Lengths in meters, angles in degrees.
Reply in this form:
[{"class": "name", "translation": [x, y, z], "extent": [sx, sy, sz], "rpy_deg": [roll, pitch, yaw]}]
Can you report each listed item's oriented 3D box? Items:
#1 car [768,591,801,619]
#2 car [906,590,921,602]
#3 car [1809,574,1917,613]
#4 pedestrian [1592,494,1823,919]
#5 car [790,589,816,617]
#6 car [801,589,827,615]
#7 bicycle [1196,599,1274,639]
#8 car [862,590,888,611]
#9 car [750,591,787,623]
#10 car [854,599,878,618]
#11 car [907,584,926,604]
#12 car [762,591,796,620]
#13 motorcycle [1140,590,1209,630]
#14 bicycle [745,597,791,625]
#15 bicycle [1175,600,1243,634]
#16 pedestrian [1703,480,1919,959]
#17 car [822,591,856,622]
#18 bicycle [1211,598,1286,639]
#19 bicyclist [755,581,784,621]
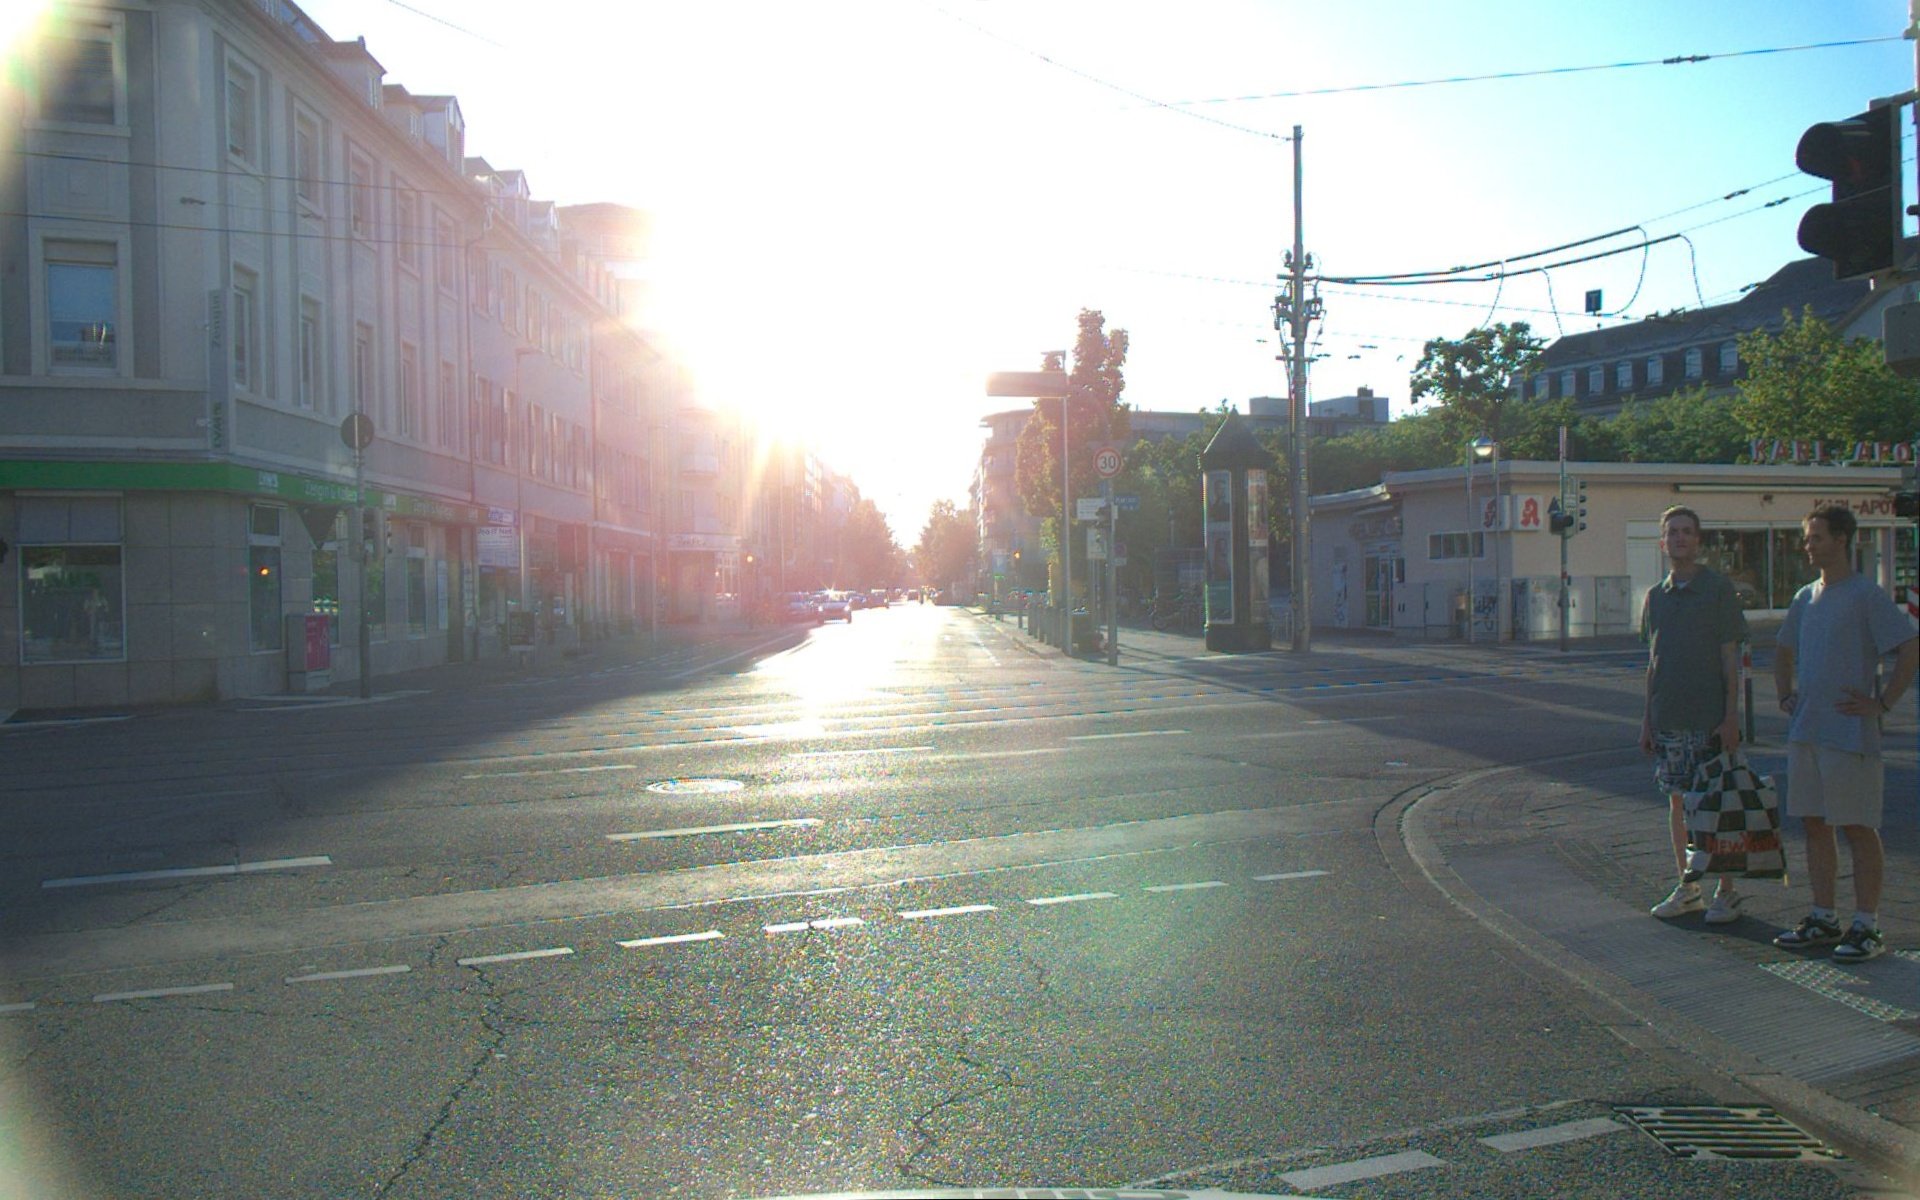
[{"class": "car", "translation": [-9.609, 0.291, 90.842], "extent": [1.514, 1.494, 3.350], "rpy_deg": [0, 0, -2]}, {"class": "car", "translation": [-6.914, -0.613, 246.801], "extent": [1.952, 1.847, 4.000], "rpy_deg": [-1, 0, 1]}, {"class": "car", "translation": [39.200, -0.262, 71.788], "extent": [4.606, 1.593, 1.790], "rpy_deg": [1, -1, -25]}, {"class": "pedestrian", "translation": [3.373, 0.447, 7.489], "extent": [0.579, 1.804, 0.741], "rpy_deg": [-1, 0, -32]}, {"class": "car", "translation": [-9.254, 0.184, 97.559], "extent": [1.280, 1.610, 2.887], "rpy_deg": [0, 0, -2]}, {"class": "car", "translation": [-9.099, 0.159, 103.351], "extent": [1.453, 1.586, 3.257], "rpy_deg": [0, 0, -2]}, {"class": "bicycle", "translation": [7.658, 0.532, 46.057], "extent": [2.101, 1.062, 0.560], "rpy_deg": [-1, -1, 7]}, {"class": "car", "translation": [-7.368, 0.020, 144.142], "extent": [1.952, 1.713, 4.000], "rpy_deg": [-1, 0, 1]}, {"class": "car", "translation": [-9.489, 0.322, 82.222], "extent": [1.514, 1.509, 3.351], "rpy_deg": [-1, 0, -2]}, {"class": "car", "translation": [-8.508, 0.811, 150.643], "extent": [1.953, 1.709, 4.000], "rpy_deg": [1, 0, 0]}, {"class": "car", "translation": [-4.651, -0.658, 176.761], "extent": [1.953, 2.049, 3.999], "rpy_deg": [1, -1, -1]}, {"class": "car", "translation": [-9.378, 0.300, 85.869], "extent": [1.514, 1.495, 3.350], "rpy_deg": [0, 0, -2]}, {"class": "motorcycle", "translation": [6.963, 0.324, 53.741], "extent": [2.187, 1.222, 0.720], "rpy_deg": [-1, 0, 4]}, {"class": "bicycle", "translation": [-8.793, 0.500, 75.759], "extent": [2.073, 1.225, 0.500], "rpy_deg": [0, -1, 18]}, {"class": "bicycle", "translation": [7.613, 0.525, 50.644], "extent": [2.033, 0.999, 0.560], "rpy_deg": [-1, -1, 7]}, {"class": "pedestrian", "translation": [3.558, 0.444, 6.697], "extent": [0.628, 1.804, 0.744], "rpy_deg": [-1, 0, -22]}, {"class": "car", "translation": [-5.966, 0.331, 81.511], "extent": [1.514, 1.493, 3.350], "rpy_deg": [0, 0, -2]}, {"class": "bicycle", "translation": [7.823, 0.503, 44.881], "extent": [1.977, 1.062, 0.560], "rpy_deg": [-1, -1, 7]}, {"class": "bicyclist", "translation": [-8.733, 0.043, 75.778], "extent": [1.105, 1.822, 0.765], "rpy_deg": [0, -1, 18]}]
